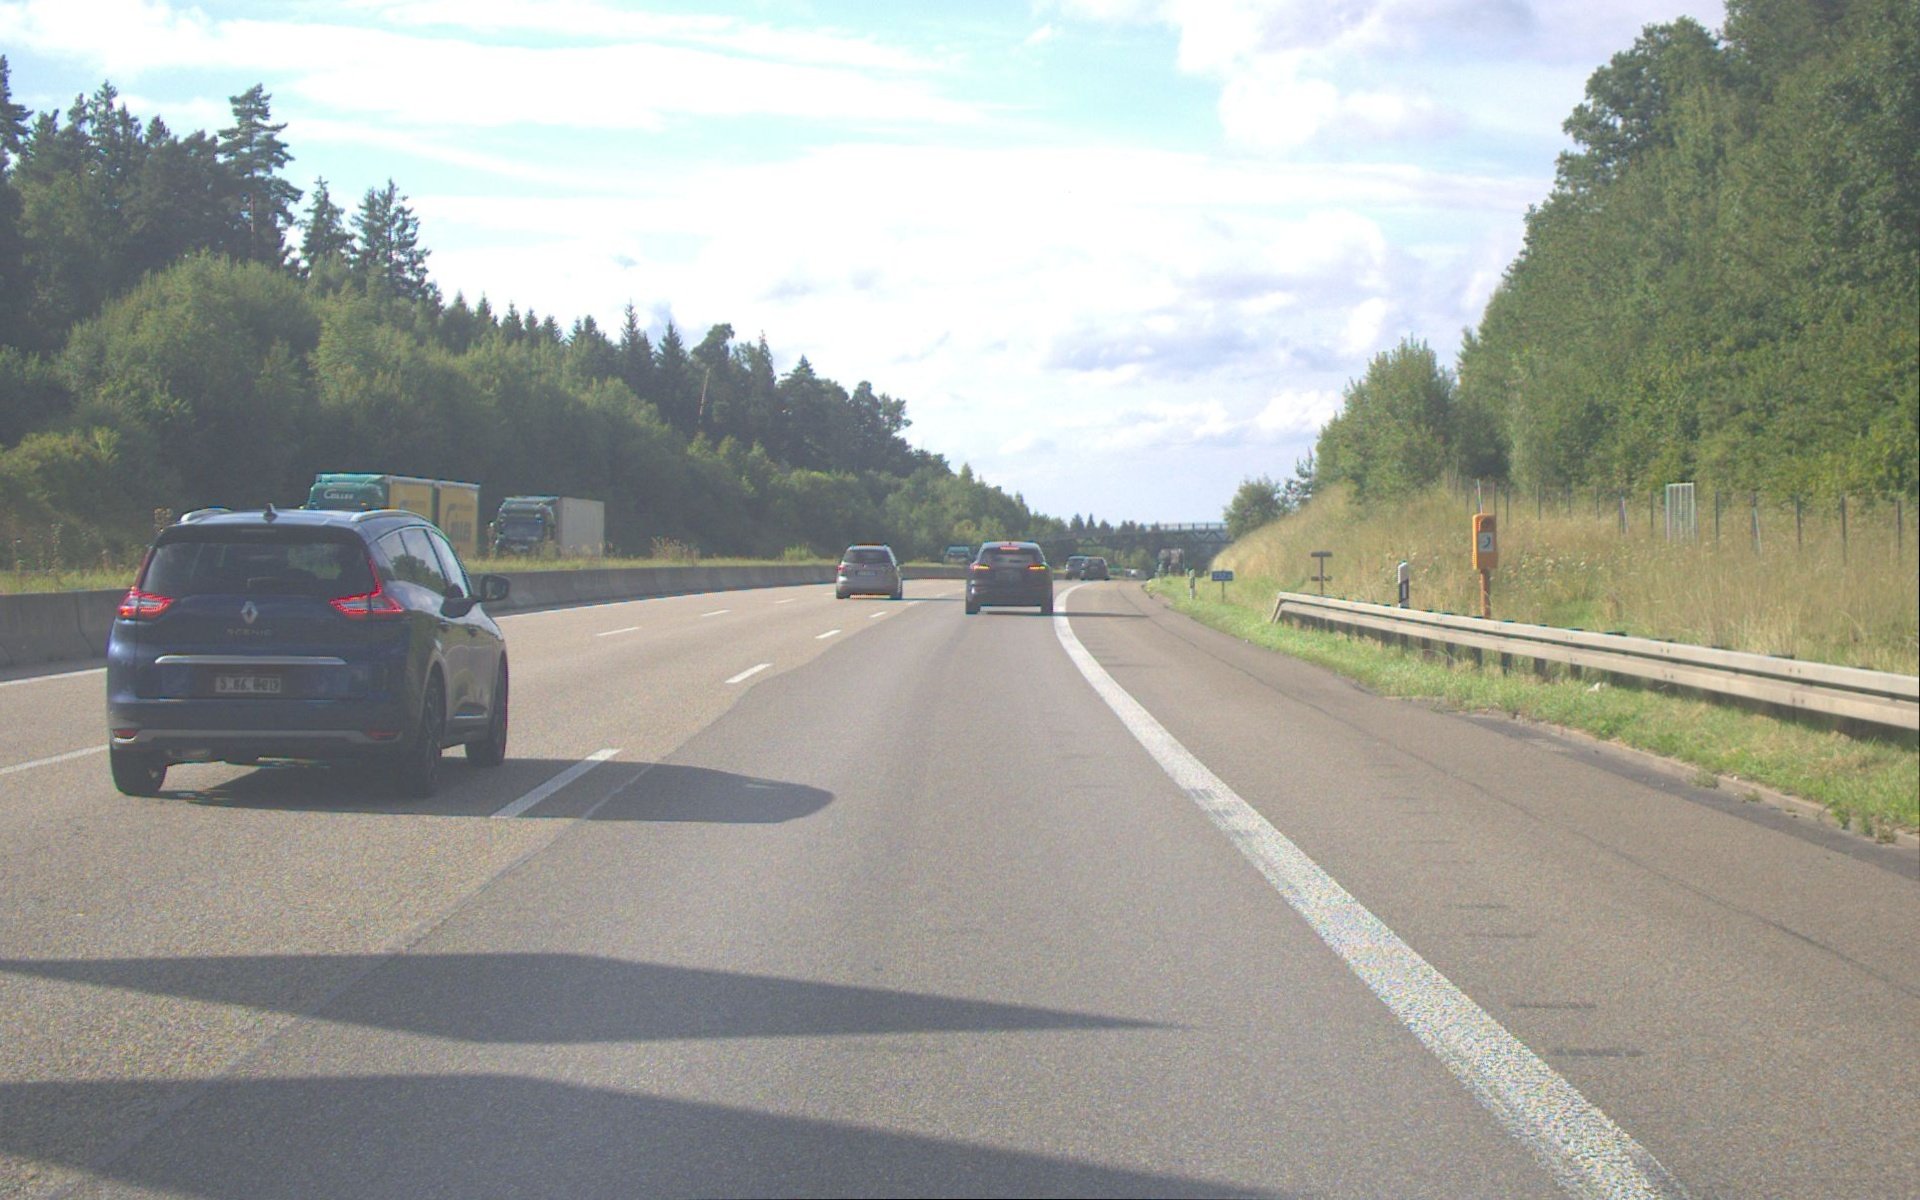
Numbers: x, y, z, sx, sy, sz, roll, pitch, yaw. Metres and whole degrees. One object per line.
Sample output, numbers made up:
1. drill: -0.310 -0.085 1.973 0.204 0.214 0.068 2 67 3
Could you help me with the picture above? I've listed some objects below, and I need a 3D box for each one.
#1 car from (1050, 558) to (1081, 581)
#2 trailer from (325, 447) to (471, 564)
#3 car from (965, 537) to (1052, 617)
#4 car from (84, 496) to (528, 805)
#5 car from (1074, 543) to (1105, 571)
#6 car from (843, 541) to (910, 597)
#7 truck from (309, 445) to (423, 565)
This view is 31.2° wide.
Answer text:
1. car: 7.449 -2.142 242.881 1.874 1.492 3.879 1 2 6
2. trailer: -20.631 -3.444 126.988 2.649 4.072 13.201 1 1 3
3. car: 1.108 -0.530 77.114 1.874 1.669 3.890 1 2 2
4. car: -3.927 0.239 21.422 1.993 1.701 4.529 1 1 -1
5. car: 8.318 -2.773 221.665 1.812 1.700 4.000 0 2 -1
6. car: -2.429 -0.916 99.235 1.873 1.492 3.880 1 2 -2
7. truck: -20.886 -3.326 121.199 2.649 4.072 6.416 1 1 3
